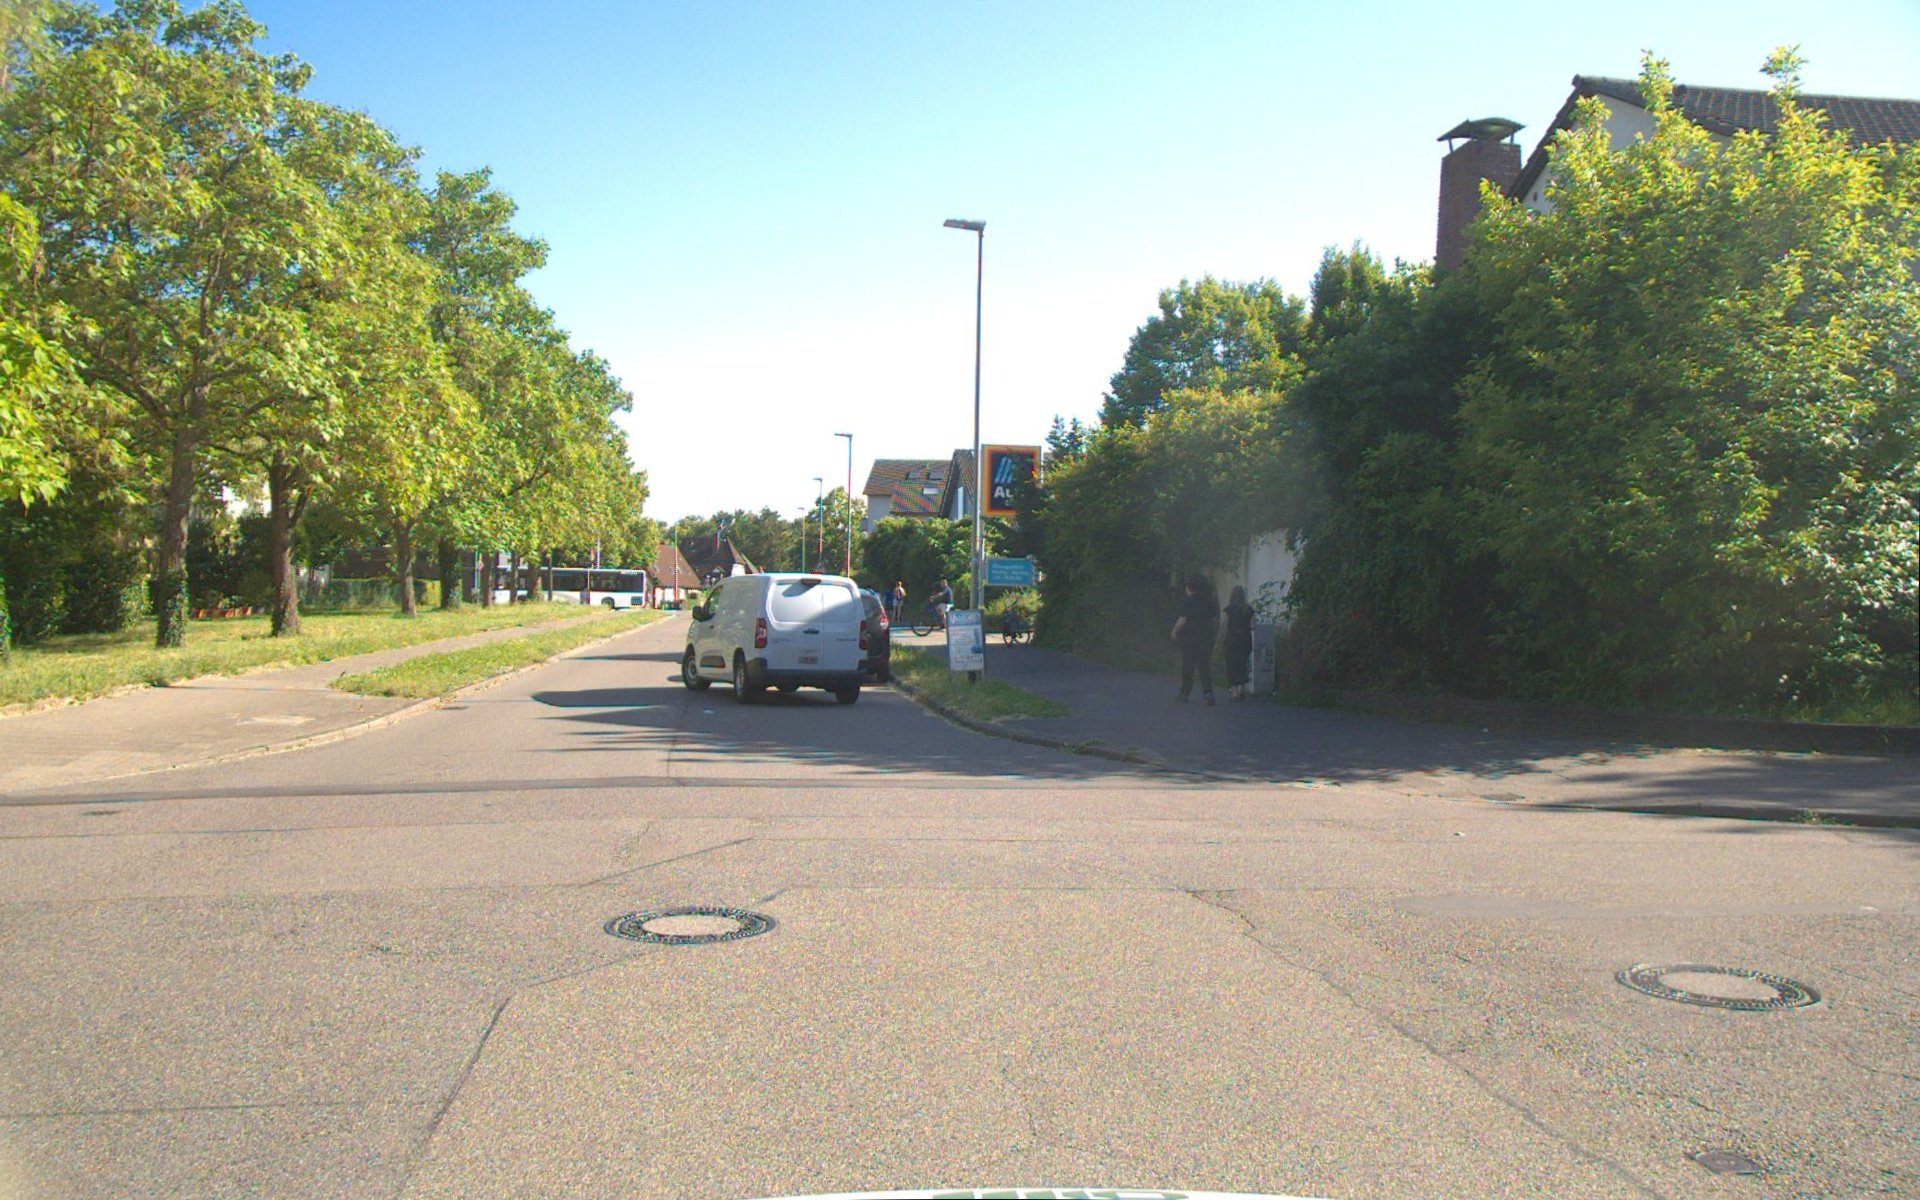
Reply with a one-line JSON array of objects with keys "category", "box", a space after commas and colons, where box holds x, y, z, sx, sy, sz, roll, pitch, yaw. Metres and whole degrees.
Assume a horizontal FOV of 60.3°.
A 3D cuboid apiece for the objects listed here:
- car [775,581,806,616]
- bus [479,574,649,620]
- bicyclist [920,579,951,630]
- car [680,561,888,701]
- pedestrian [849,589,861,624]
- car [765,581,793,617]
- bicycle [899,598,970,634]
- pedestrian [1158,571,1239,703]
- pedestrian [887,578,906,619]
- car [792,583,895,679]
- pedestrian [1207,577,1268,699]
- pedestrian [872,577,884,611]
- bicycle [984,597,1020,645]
[{"category": "car", "box": [-9.596, -0.077, 93.529, 1.691, 1.869, 3.995, 1, 0, -6]}, {"category": "bus", "box": [-25.670, -0.148, 107.679, 10.478, 2.874, 3.007, 1, 0, -37]}, {"category": "bicyclist", "box": [-0.798, 0.147, 53.578, 0.944, 1.612, 0.907, 0, -1, -5]}, {"category": "car", "box": [-2.745, 0.416, 24.912, 1.966, 1.914, 4.259, 1, 0, -23]}, {"category": "pedestrian", "box": [-5.048, 0.325, 79.476, 0.555, 1.665, 0.546, 1, 0, -2]}, {"category": "car", "box": [-13.929, -0.019, 126.912, 1.832, 2.607, 4.758, 3, -1, -8]}, {"category": "bicycle", "box": [-0.831, 0.517, 53.559, 2.228, 1.158, 0.788, 0, -1, -6]}, {"category": "pedestrian", "box": [3.220, 0.495, 22.422, 0.789, 1.747, 0.981, -1, -1, -11]}, {"category": "pedestrian", "box": [-2.843, -0.084, 73.662, 0.782, 1.813, 0.809, 1, 0, 1]}, {"category": "car", "box": [-2.273, 0.530, 31.340, 1.692, 1.685, 4.346, 1, 0, -7]}, {"category": "pedestrian", "box": [3.789, 0.513, 22.606, 0.562, 1.637, 0.790, -1, -1, -11]}, {"category": "pedestrian", "box": [-4.126, -0.304, 83.548, 0.555, 1.665, 0.546, 1, 0, -2]}, {"category": "bicycle", "box": [1.124, 0.560, 43.805, 0.705, 1.242, 1.897, -1, -1, 9]}]
